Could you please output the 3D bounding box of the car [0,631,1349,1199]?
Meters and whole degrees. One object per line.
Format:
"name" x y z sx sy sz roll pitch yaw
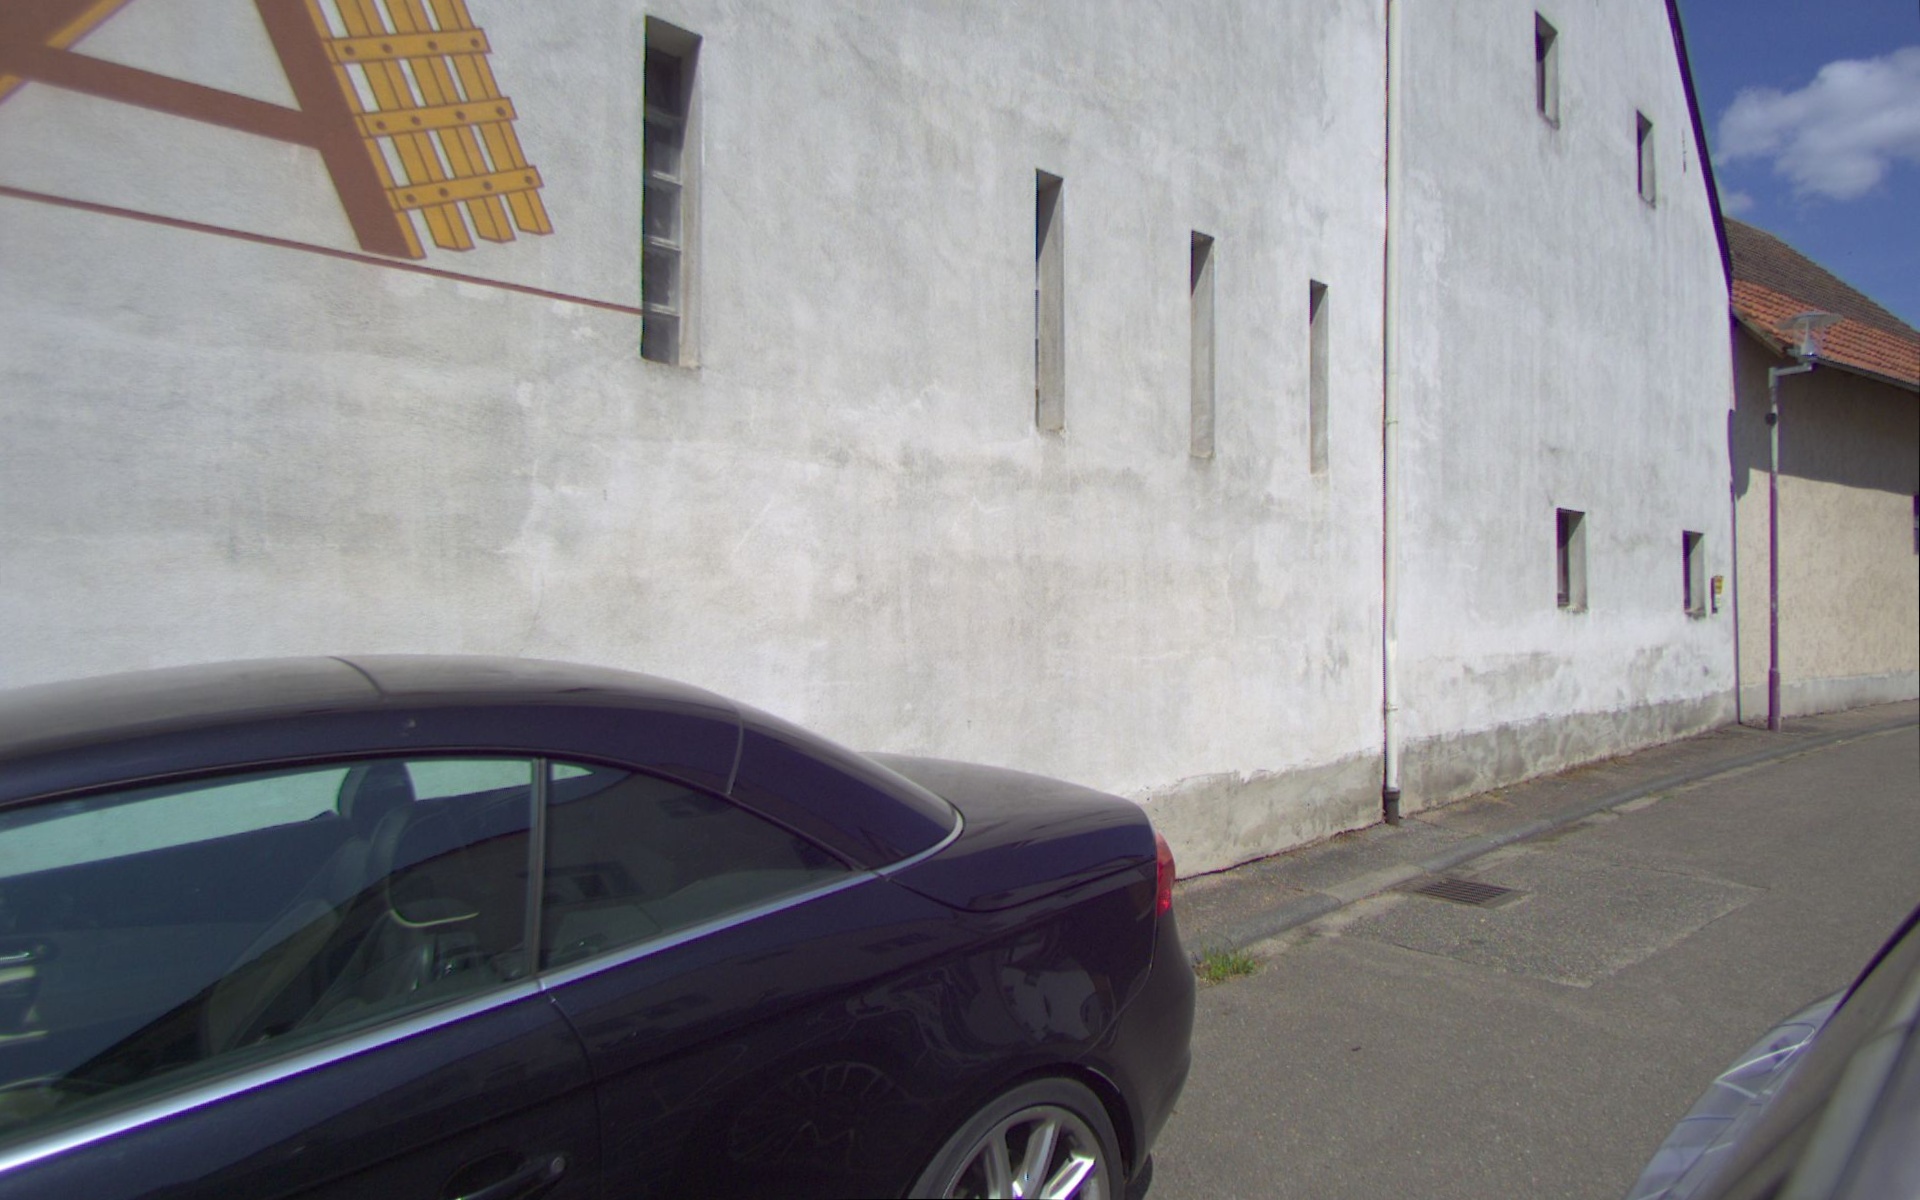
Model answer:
"car" -1.358 0.802 1.789 4.335 1.382 1.899 0 -1 -39
